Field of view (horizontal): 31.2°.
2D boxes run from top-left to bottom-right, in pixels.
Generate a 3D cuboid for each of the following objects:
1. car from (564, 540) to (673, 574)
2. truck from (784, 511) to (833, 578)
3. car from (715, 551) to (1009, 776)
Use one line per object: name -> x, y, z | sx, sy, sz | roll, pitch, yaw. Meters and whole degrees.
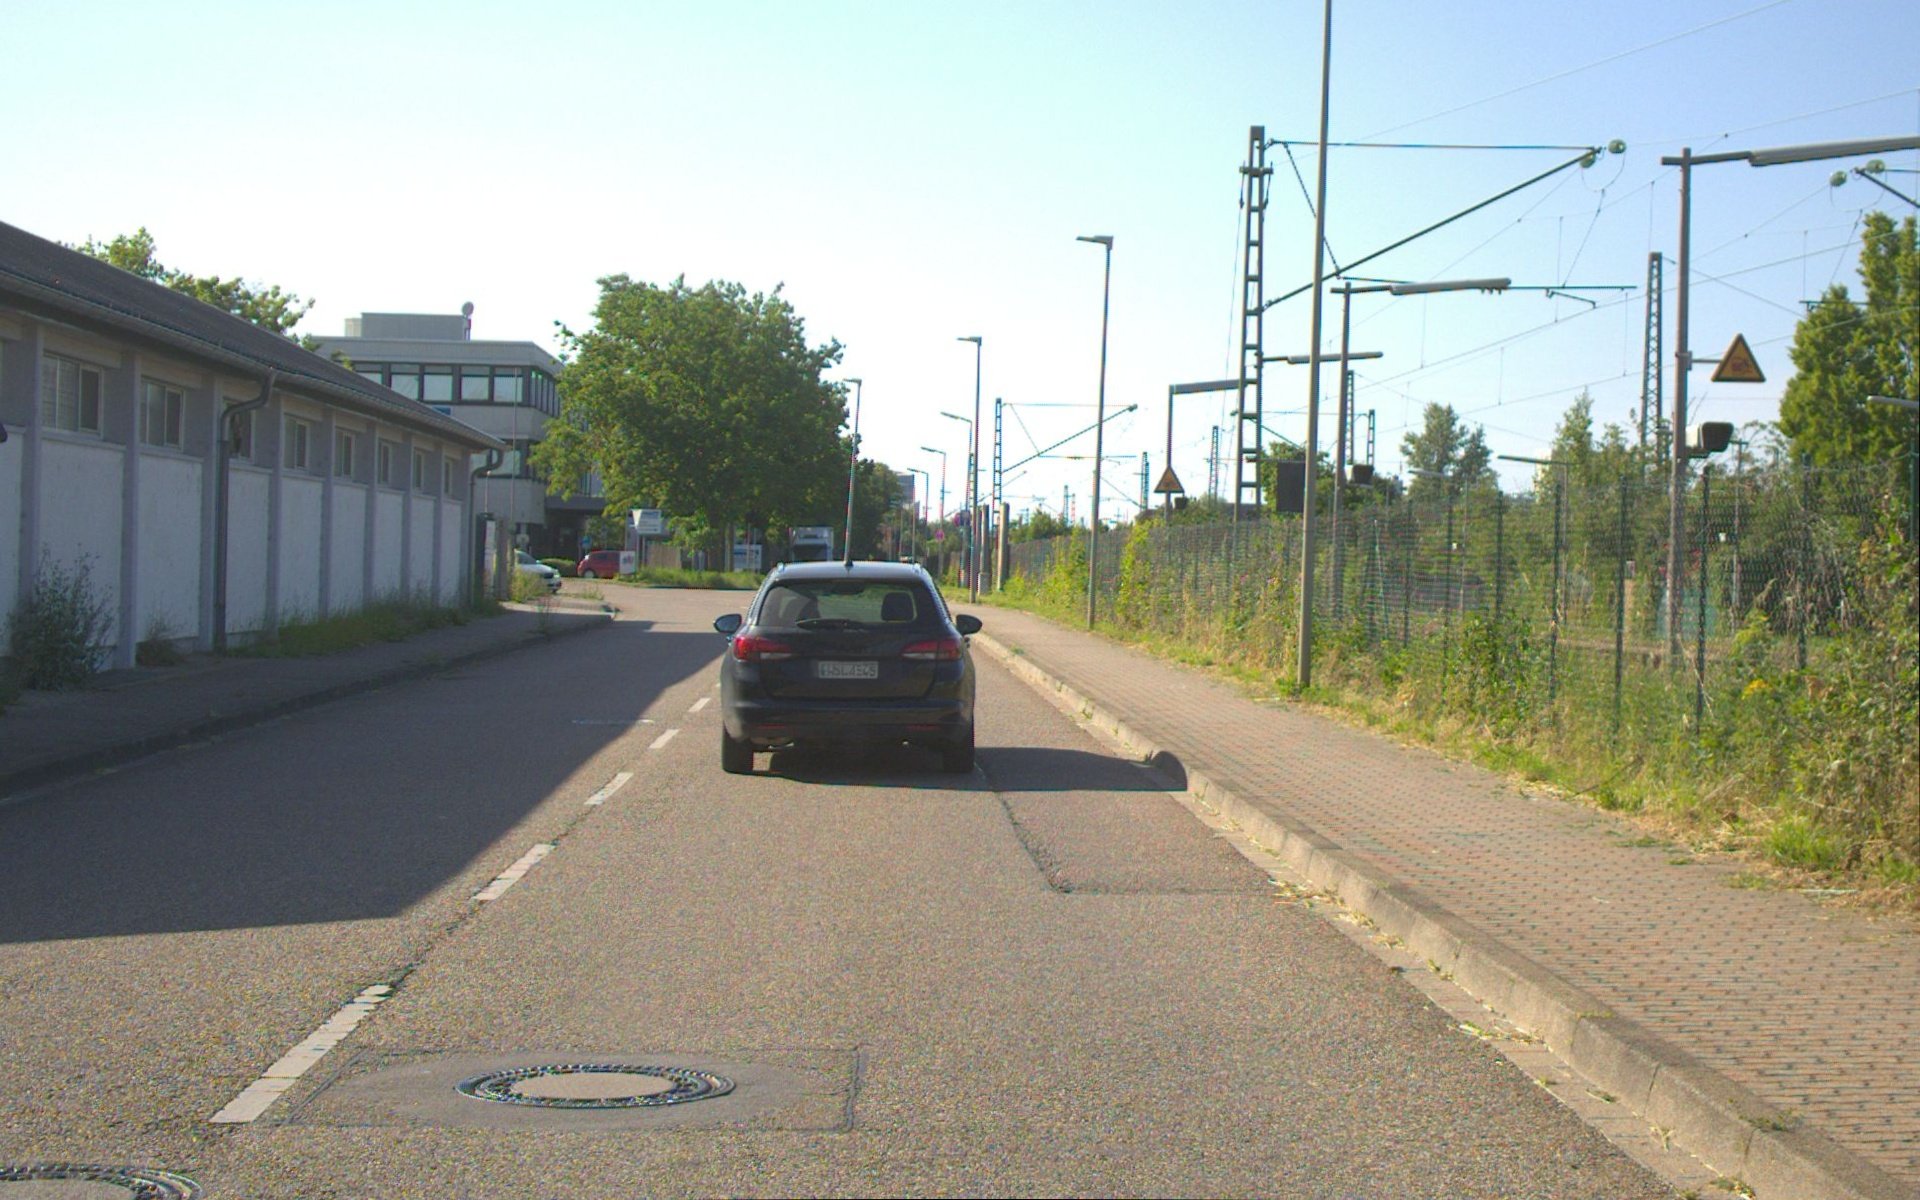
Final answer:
car -> -16.312, -2.061, 164.552 | 4.911, 1.479, 2.000 | 2, 2, 3
truck -> -9.265, -3.347, 209.004 | 2.612, 3.872, 13.534 | 2, 1, -3
car -> -0.724, 0.399, 25.035 | 1.942, 1.483, 4.566 | 0, 1, -2
